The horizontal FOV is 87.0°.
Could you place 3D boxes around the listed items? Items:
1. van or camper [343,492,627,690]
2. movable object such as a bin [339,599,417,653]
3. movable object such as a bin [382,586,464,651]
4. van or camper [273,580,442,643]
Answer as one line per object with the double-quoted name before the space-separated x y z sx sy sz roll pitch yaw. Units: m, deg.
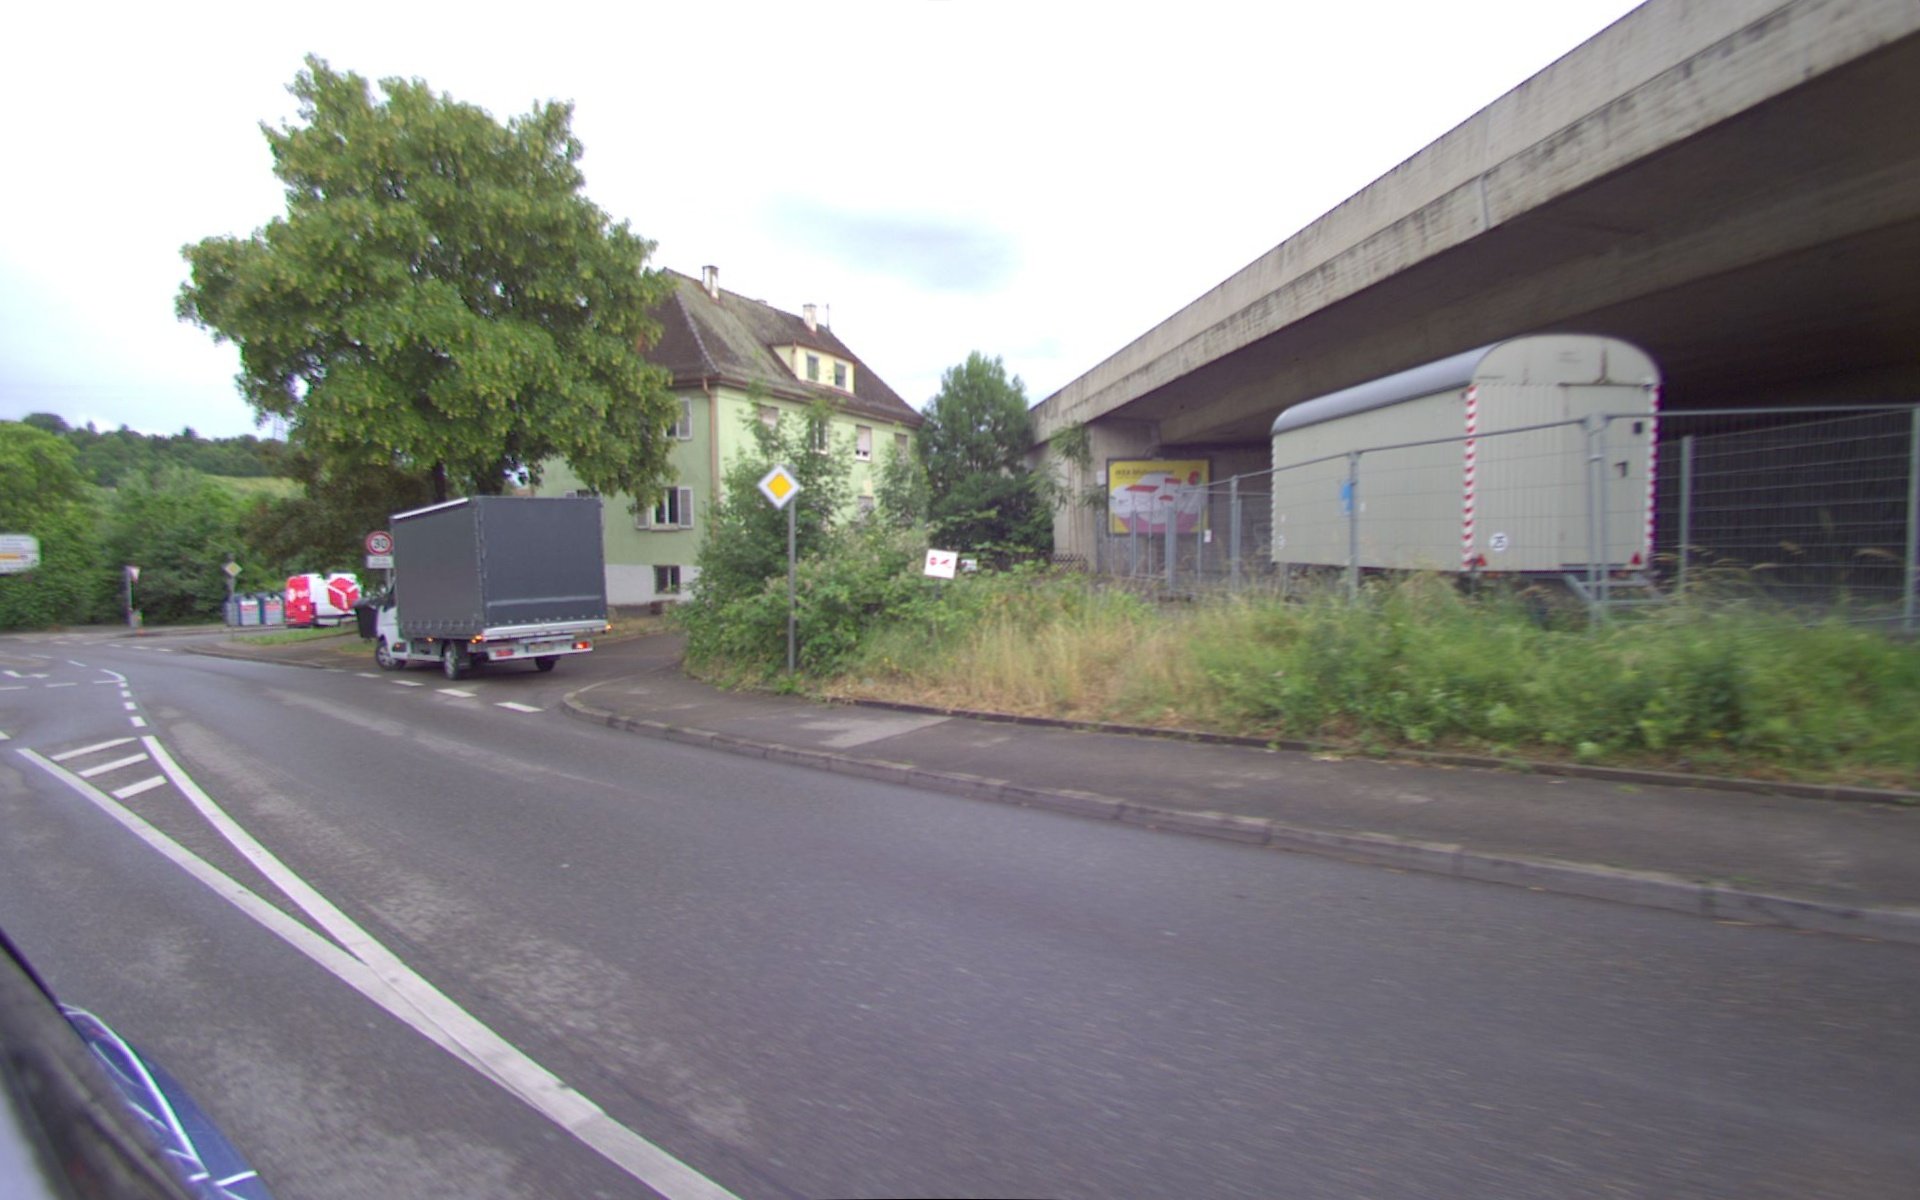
"van or camper" -10.037 -0.149 20.876 7.765 3.359 2.668 -1 2 45
"movable object such as a bin" -17.911 0.790 31.184 1.360 1.451 1.470 -5 1 6
"movable object such as a bin" -16.447 0.549 31.056 1.436 1.774 1.575 -5 1 6
"van or camper" -27.793 0.462 47.077 2.209 2.540 6.645 -2 1 24
